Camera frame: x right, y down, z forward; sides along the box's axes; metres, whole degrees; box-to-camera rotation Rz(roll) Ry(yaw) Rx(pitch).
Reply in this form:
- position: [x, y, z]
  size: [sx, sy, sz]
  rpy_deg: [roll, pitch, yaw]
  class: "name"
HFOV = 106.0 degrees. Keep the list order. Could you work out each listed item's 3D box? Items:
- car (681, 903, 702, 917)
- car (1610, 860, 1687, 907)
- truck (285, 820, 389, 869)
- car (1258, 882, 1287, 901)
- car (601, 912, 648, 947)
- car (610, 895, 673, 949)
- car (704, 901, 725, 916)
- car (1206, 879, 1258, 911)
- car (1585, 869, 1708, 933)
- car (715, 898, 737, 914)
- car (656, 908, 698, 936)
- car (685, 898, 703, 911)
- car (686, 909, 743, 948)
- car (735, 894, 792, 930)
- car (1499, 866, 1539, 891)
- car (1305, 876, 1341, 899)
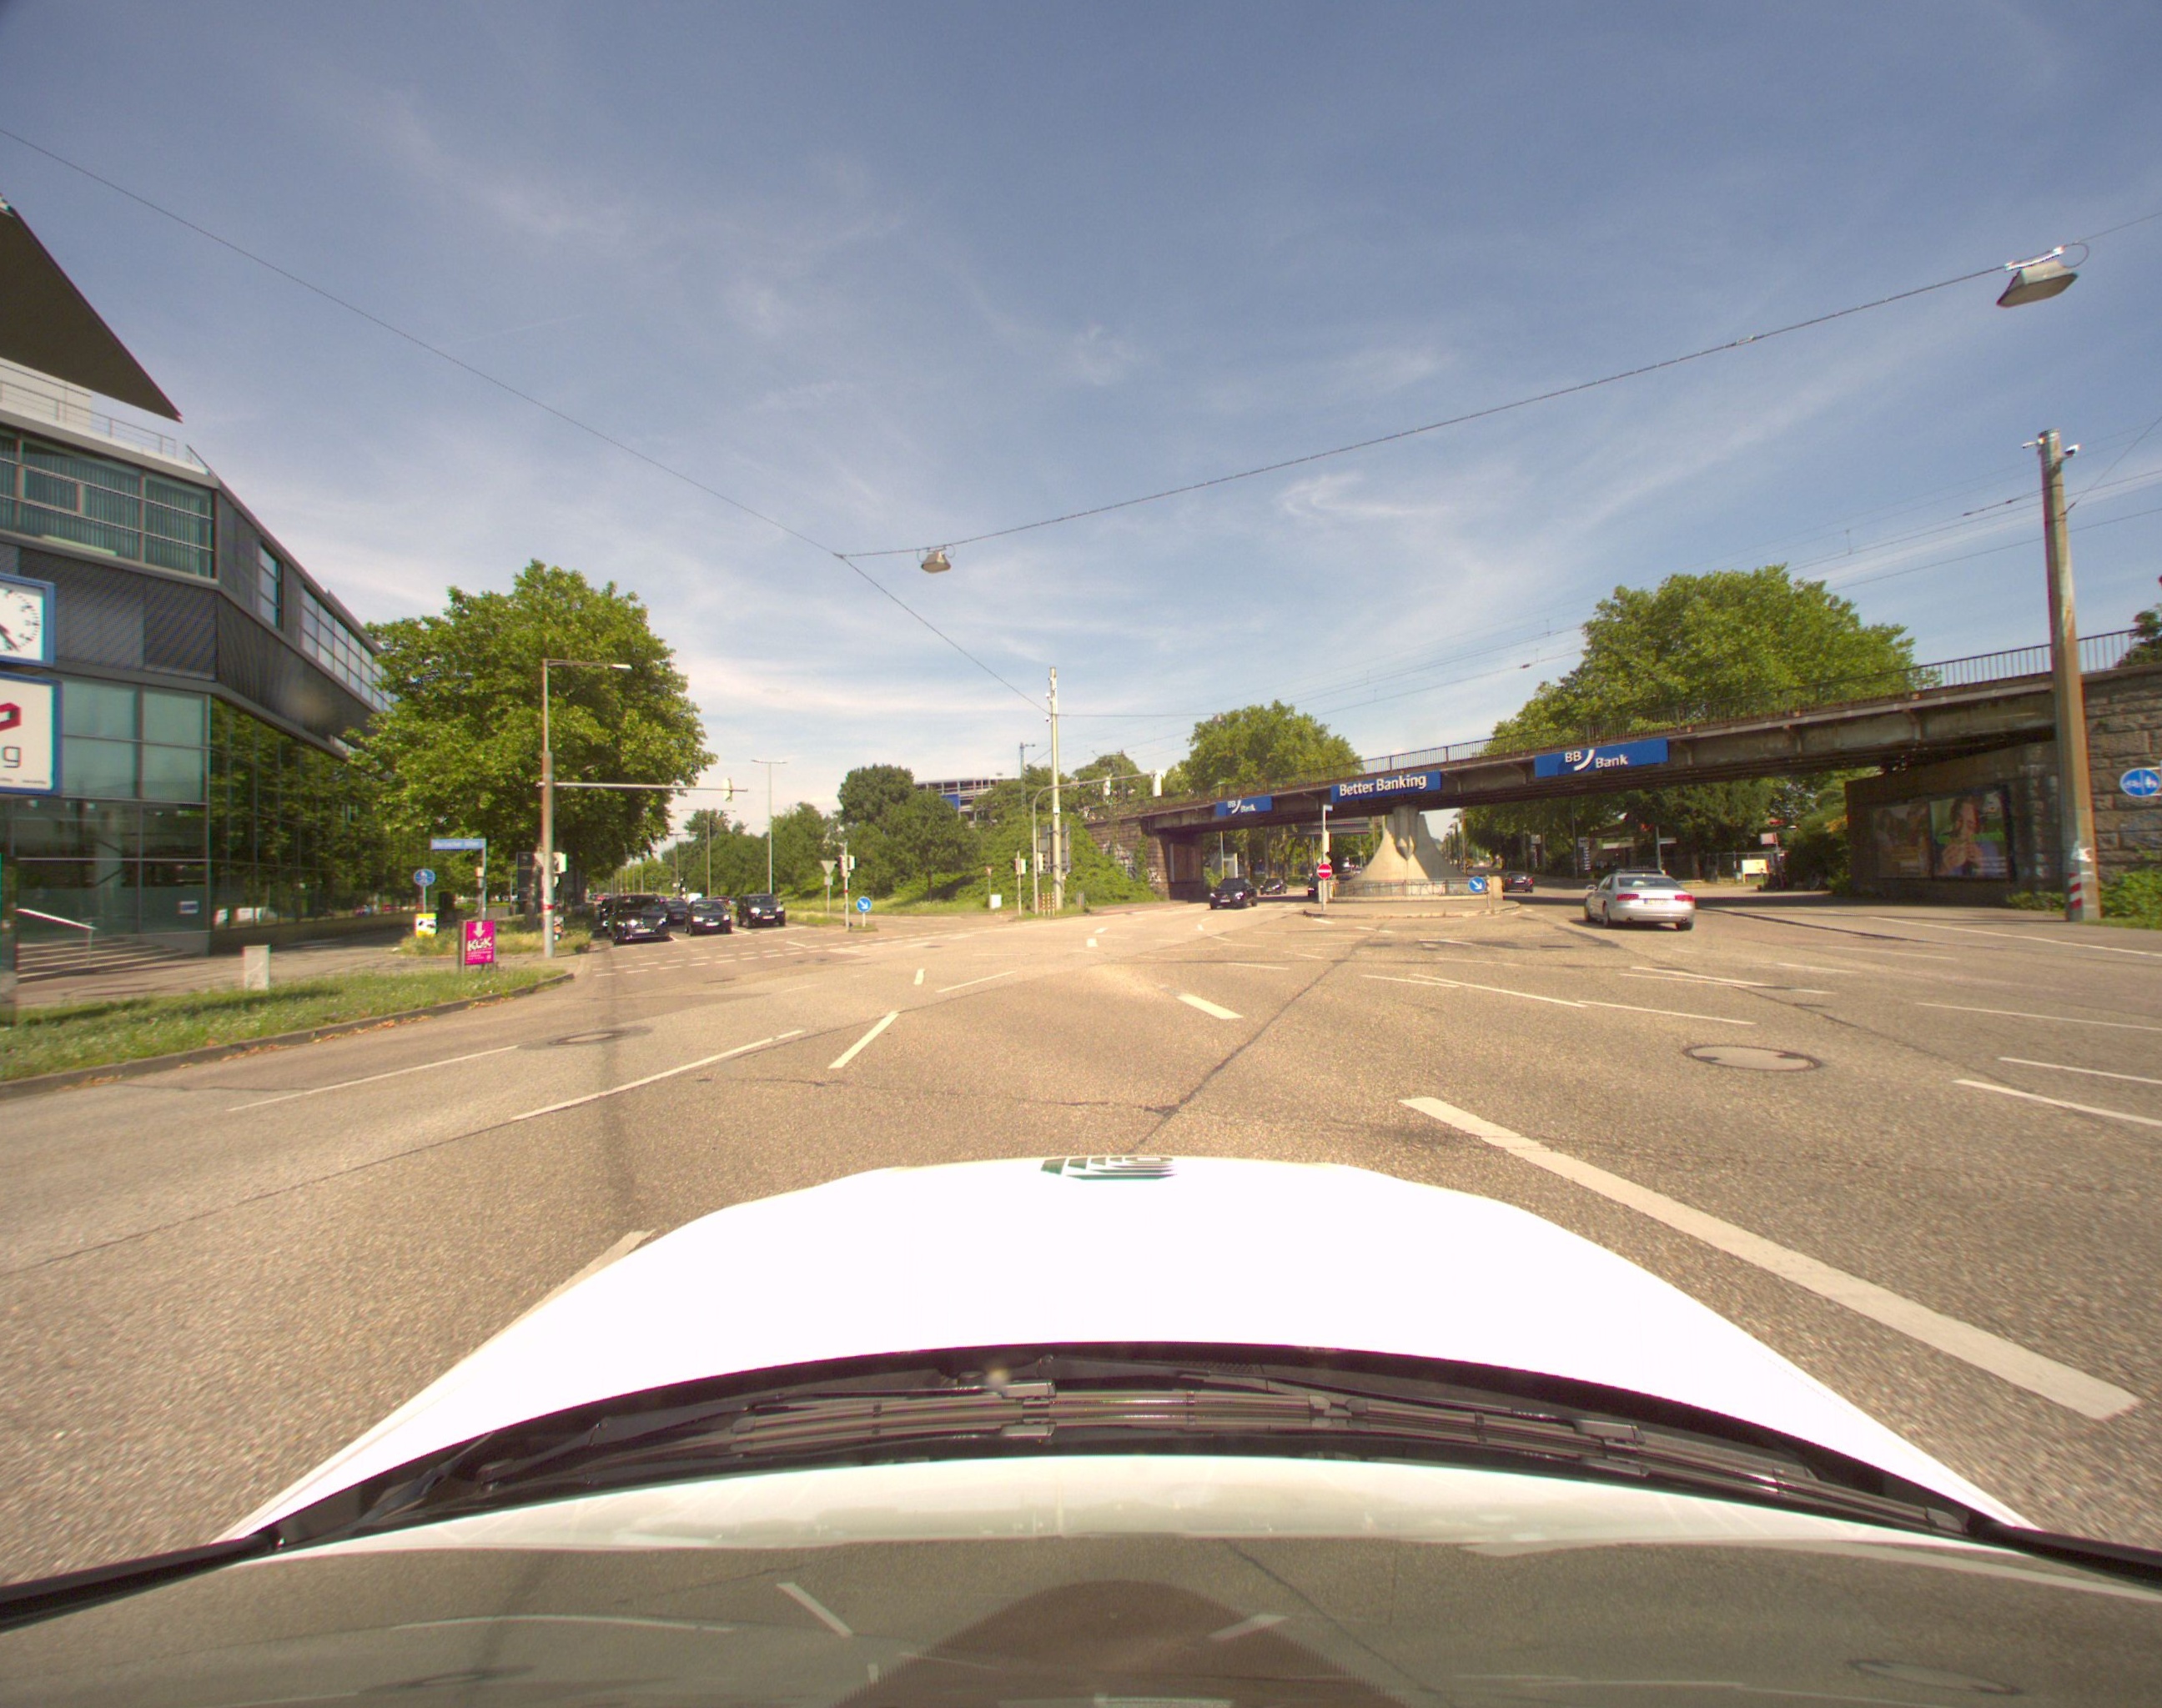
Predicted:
- position: [-51.123, 7.361, 106.817]
  size: [2.007, 1.684, 3.959]
  rpy_deg: [0, -3, -31]
  class: "car"
- position: [22.897, 1.173, 33.002]
  size: [1.893, 1.769, 4.023]
  rpy_deg: [-3, -2, 26]
  class: "car"
- position: [-60.786, -0.668, 66.500]
  size: [8.881, 3.396, 2.687]
  rpy_deg: [-3, -3, 22]
  class: "truck"
- position: [16.912, 3.281, 71.659]
  size: [1.806, 1.507, 4.237]
  rpy_deg: [-3, -3, 22]
  class: "car"
- position: [-22.696, 3.708, 40.414]
  size: [1.903, 1.449, 4.954]
  rpy_deg: [-2, -2, -31]
  class: "car"
- position: [-17.813, 2.654, 32.902]
  size: [1.951, 1.920, 5.175]
  rpy_deg: [-1, -2, -31]
  class: "car"
- position: [-42.428, 6.315, 94.285]
  size: [1.748, 1.536, 3.960]
  rpy_deg: [0, -1, -31]
  class: "car"
- position: [8.243, 2.184, 44.115]
  size: [1.976, 1.596, 4.467]
  rpy_deg: [-3, -2, 21]
  class: "car"
- position: [15.142, 1.192, 22.077]
  size: [1.975, 1.508, 4.508]
  rpy_deg: [-1, -1, 25]
  class: "car"
- position: [-45.387, 6.632, 104.135]
  size: [2.031, 1.838, 3.960]
  rpy_deg: [0, -1, -31]
  class: "car"
- position: [-24.288, 4.043, 48.898]
  size: [1.848, 1.462, 4.472]
  rpy_deg: [-3, -2, -31]
  class: "car"
- position: [-55.932, 7.323, 117.721]
  size: [2.006, 1.708, 4.220]
  rpy_deg: [-1, -3, -31]
  class: "car"
- position: [-15.823, 3.161, 35.074]
  size: [1.773, 1.475, 3.917]
  rpy_deg: [-1, -3, -31]
  class: "car"
- position: [-15.909, 2.884, 40.731]
  size: [1.820, 1.615, 4.444]
  rpy_deg: [-1, -2, -32]
  class: "car"
- position: [29.700, 1.660, 55.307]
  size: [1.921, 1.601, 4.021]
  rpy_deg: [-1, -1, 22]
  class: "car"
- position: [17.061, 2.340, 57.257]
  size: [1.671, 1.442, 4.023]
  rpy_deg: [-3, -3, 26]
  class: "car"
